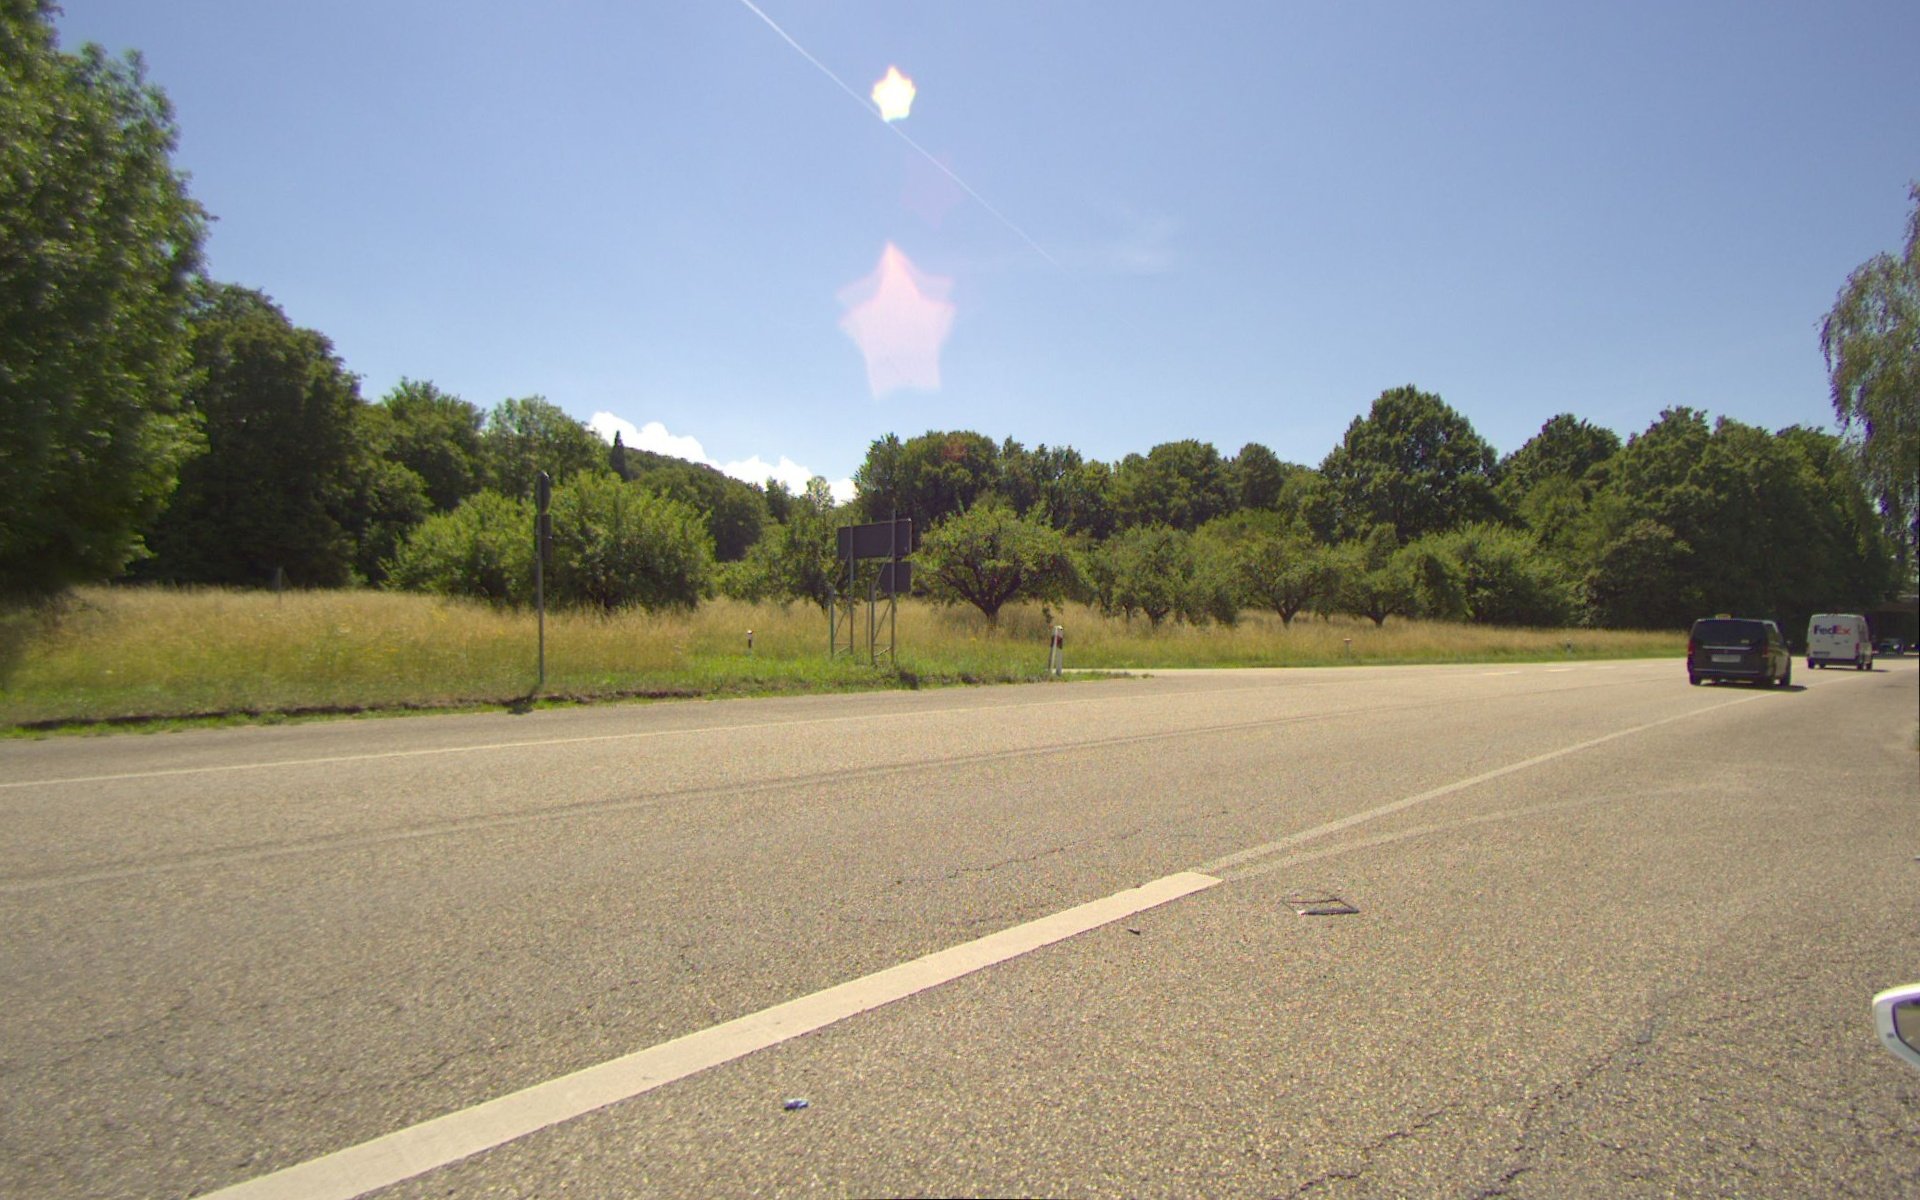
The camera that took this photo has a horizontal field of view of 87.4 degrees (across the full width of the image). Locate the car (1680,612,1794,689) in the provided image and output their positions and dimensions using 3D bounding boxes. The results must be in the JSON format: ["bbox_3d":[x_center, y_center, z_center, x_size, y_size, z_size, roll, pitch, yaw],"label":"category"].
[{"bbox_3d":[22.149,1.392,28.591,4.062,1.973,1.974,2,0,-44],"label":"car"}]

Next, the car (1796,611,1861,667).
[{"bbox_3d":[41.869,1.859,48.382,2.095,2.534,4.065,2,0,44],"label":"car"}]

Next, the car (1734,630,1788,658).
[{"bbox_3d":[50.320,2.729,63.083,4.062,1.657,2.096,2,0,-44],"label":"car"}]

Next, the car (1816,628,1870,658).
[{"bbox_3d":[53.362,2.556,60.667,4.062,1.657,2.096,2,0,-44],"label":"car"}]
